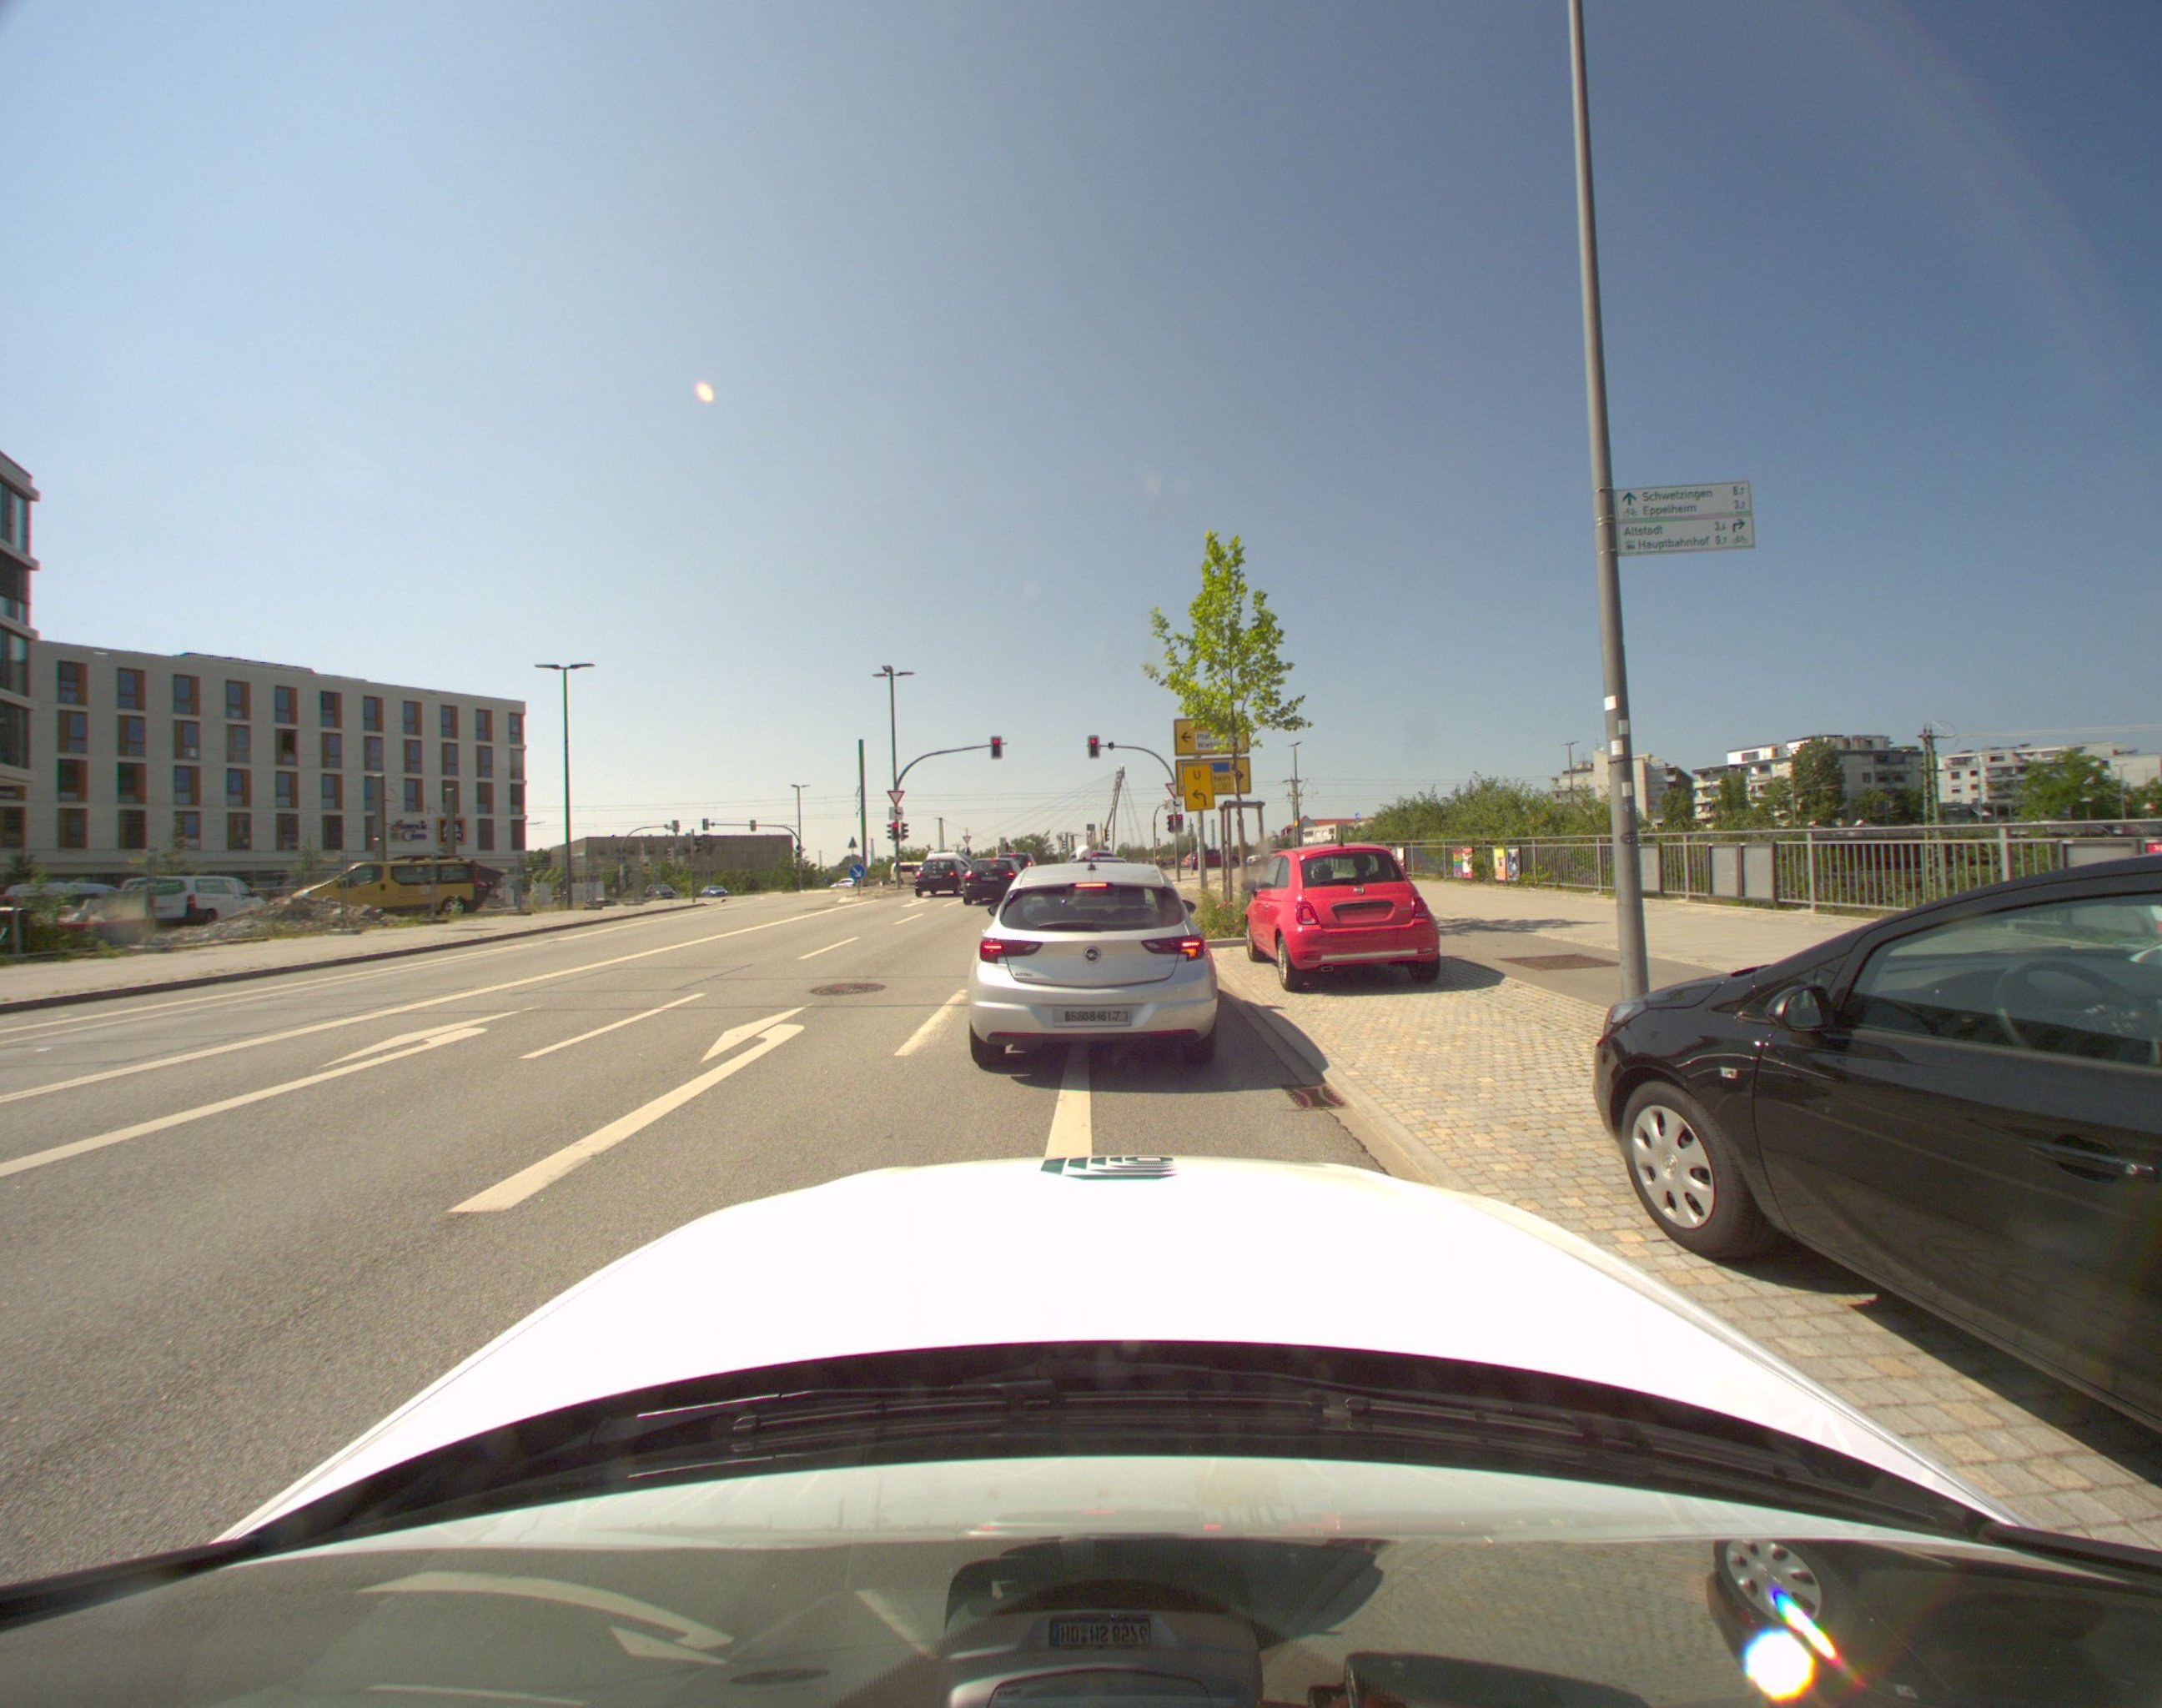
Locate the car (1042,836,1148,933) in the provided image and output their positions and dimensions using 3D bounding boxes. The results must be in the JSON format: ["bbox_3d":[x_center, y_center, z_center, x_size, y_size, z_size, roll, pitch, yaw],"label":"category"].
[{"bbox_3d":[0.339,0.563,17.644,1.986,1.820,4.404,0,0,2],"label":"car"}]

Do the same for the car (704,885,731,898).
[{"bbox_3d":[-39.651,4.135,88.788,1.831,1.331,3.954,0,-2,-38],"label":"car"}]

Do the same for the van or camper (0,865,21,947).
[{"bbox_3d":[-36.444,1.713,25.277,2.318,2.735,4.944,0,-1,-26],"label":"van or camper"}]

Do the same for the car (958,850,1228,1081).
[{"bbox_3d":[0.062,0.733,7.275,1.738,1.478,3.998,0,-1,-1],"label":"car"}]

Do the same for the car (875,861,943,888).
[{"bbox_3d":[-13.148,1.572,62.348,4.664,2.014,2.010,-1,-1,19],"label":"car"}]

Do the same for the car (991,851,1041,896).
[{"bbox_3d":[-2.476,0.736,31.790,1.644,1.615,3.819,0,-1,0],"label":"car"}]

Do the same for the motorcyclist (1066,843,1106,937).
[{"bbox_3d":[0.084,0.543,12.426,0.579,1.389,0.707,0,-1,1],"label":"motorcyclist"}]

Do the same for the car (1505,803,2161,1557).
[{"bbox_3d":[2.872,0.588,1.940,1.654,1.426,4.001,-4,-1,2],"label":"car"}]

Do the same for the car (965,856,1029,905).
[{"bbox_3d":[-2.601,0.783,25.917,1.569,1.434,3.786,0,-1,1],"label":"car"}]

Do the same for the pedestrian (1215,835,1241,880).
[{"bbox_3d":[6.035,0.138,33.469,0.802,1.836,0.641,-1,-1,-42],"label":"pedestrian"}]

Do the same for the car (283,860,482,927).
[{"bbox_3d":[-22.612,1.189,26.523,1.964,1.962,4.655,-1,-1,40],"label":"car"}]

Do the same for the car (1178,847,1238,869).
[{"bbox_3d":[9.841,0.333,63.294,4.269,1.631,1.752,-1,-1,-6],"label":"car"}]

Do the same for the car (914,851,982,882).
[{"bbox_3d":[-10.565,1.001,64.650,4.961,2.376,1.791,-1,-1,16],"label":"car"}]

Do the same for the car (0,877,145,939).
[{"bbox_3d":[-33.681,1.727,27.212,1.794,1.857,3.817,0,-1,-26],"label":"car"}]

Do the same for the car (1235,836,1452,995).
[{"bbox_3d":[2.934,0.610,9.802,1.603,1.496,3.355,-4,0,3],"label":"car"}]

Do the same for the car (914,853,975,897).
[{"bbox_3d":[-5.169,0.776,31.347,1.591,1.547,3.764,0,-1,2],"label":"car"}]

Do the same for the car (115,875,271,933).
[{"bbox_3d":[-31.031,1.686,28.683,1.873,1.774,4.619,0,-1,-22],"label":"car"}]

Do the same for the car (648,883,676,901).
[{"bbox_3d":[-38.496,3.500,74.787,1.686,1.476,3.368,-2,0,-37],"label":"car"}]

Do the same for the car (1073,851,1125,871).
[{"bbox_3d":[1.365,0.527,63.444,3.975,1.483,1.999,0,-1,-1],"label":"car"}]

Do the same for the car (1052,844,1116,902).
[{"bbox_3d":[0.165,0.493,24.048,1.717,1.563,4.002,0,1,2],"label":"car"}]
